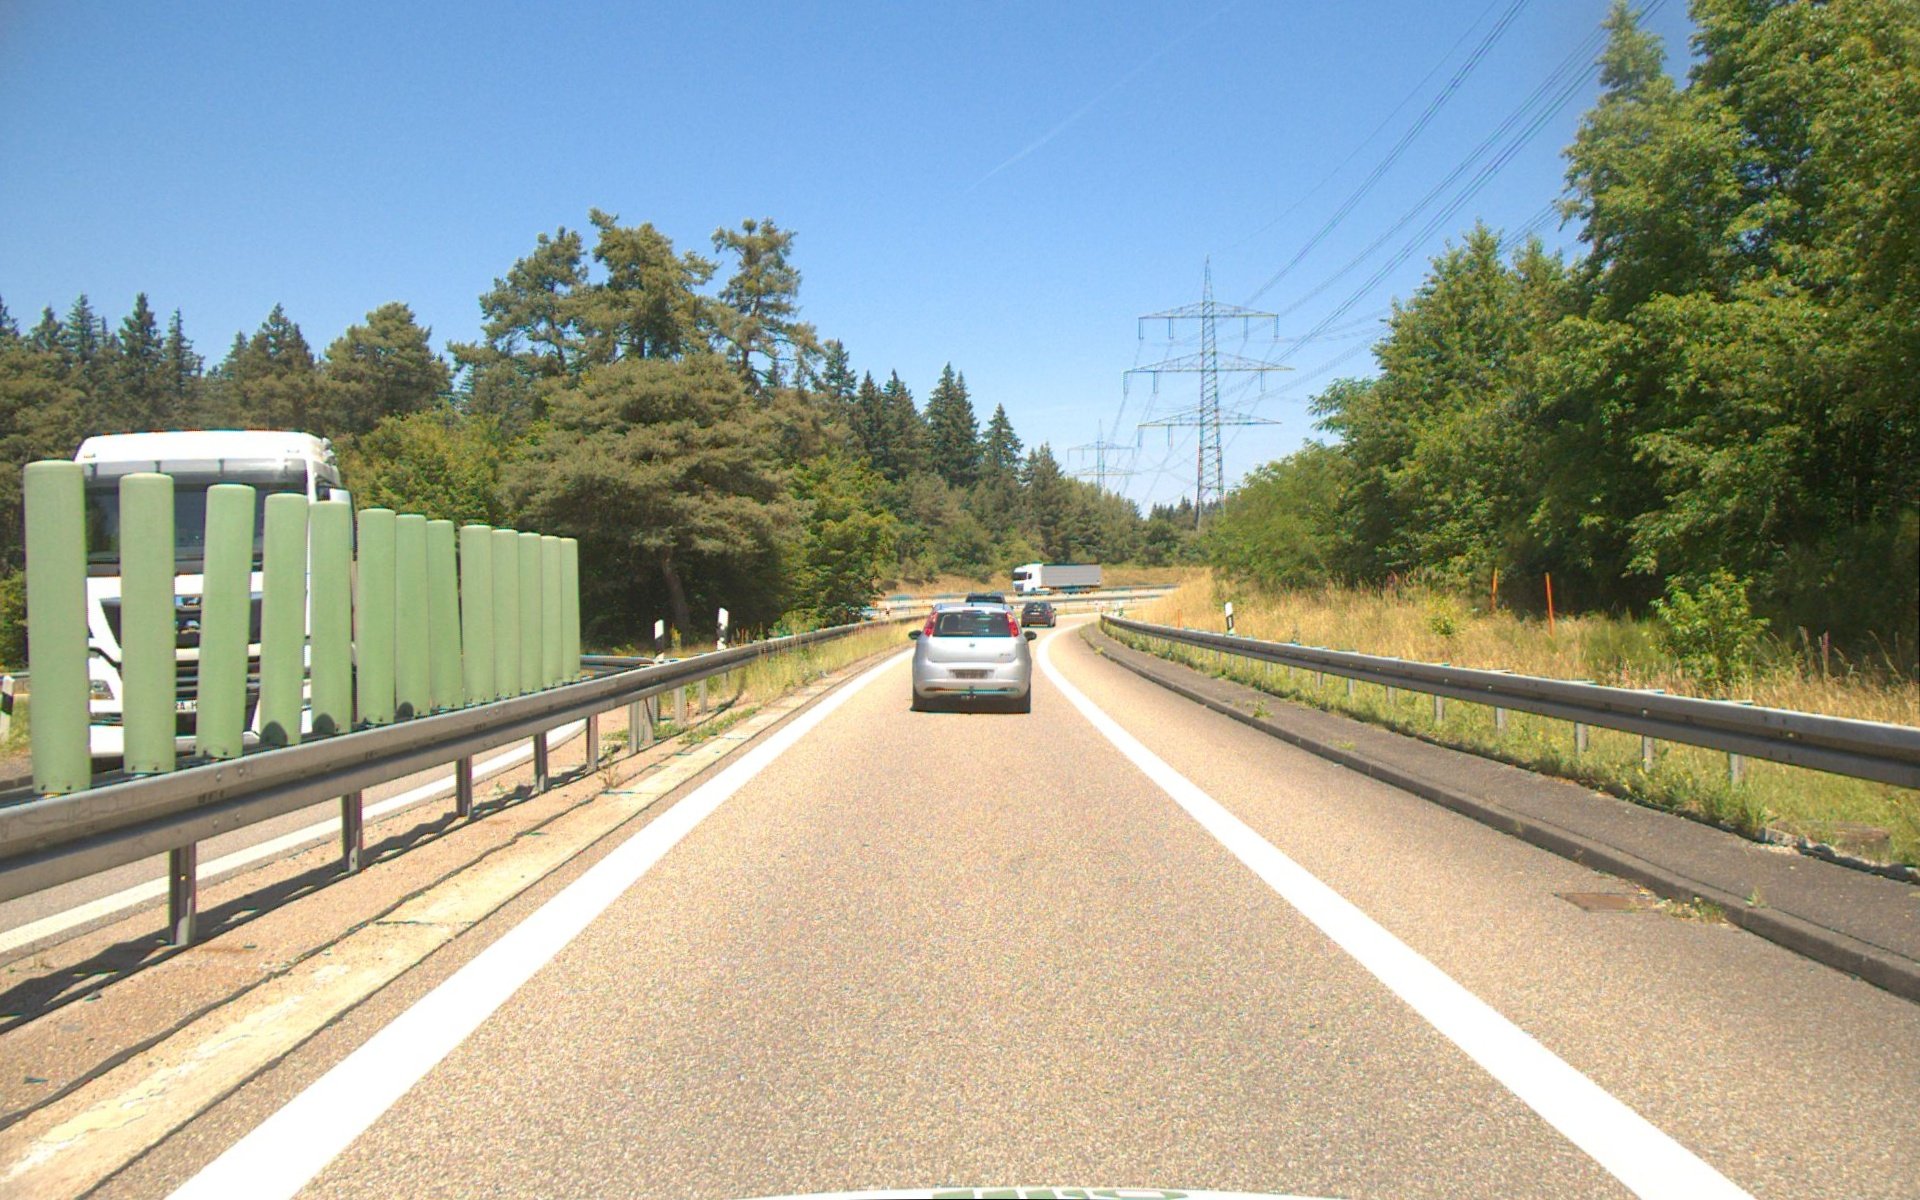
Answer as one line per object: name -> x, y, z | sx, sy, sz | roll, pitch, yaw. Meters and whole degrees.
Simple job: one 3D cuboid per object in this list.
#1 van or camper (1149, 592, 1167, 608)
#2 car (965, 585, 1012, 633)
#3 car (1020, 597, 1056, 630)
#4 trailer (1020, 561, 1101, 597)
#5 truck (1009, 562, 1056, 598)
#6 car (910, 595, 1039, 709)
van or camper -> 20.048, -0.023, 167.653 | 1.768, 1.512, 4.004 | 0, 1, 8
car -> 1.038, 0.302, 61.554 | 1.671, 1.705, 3.398 | 0, 1, 0
car -> 4.482, 0.747, 94.847 | 1.842, 1.713, 4.003 | -3, 0, 5
trailer -> 13.648, -2.889, 223.040 | 2.881, 4.463, 14.218 | -2, 0, 41
truck -> 9.552, -2.679, 218.264 | 2.894, 4.469, 6.237 | -2, 0, 41
car -> 0.143, 0.721, 23.624 | 1.672, 1.508, 3.395 | 0, -1, -3
